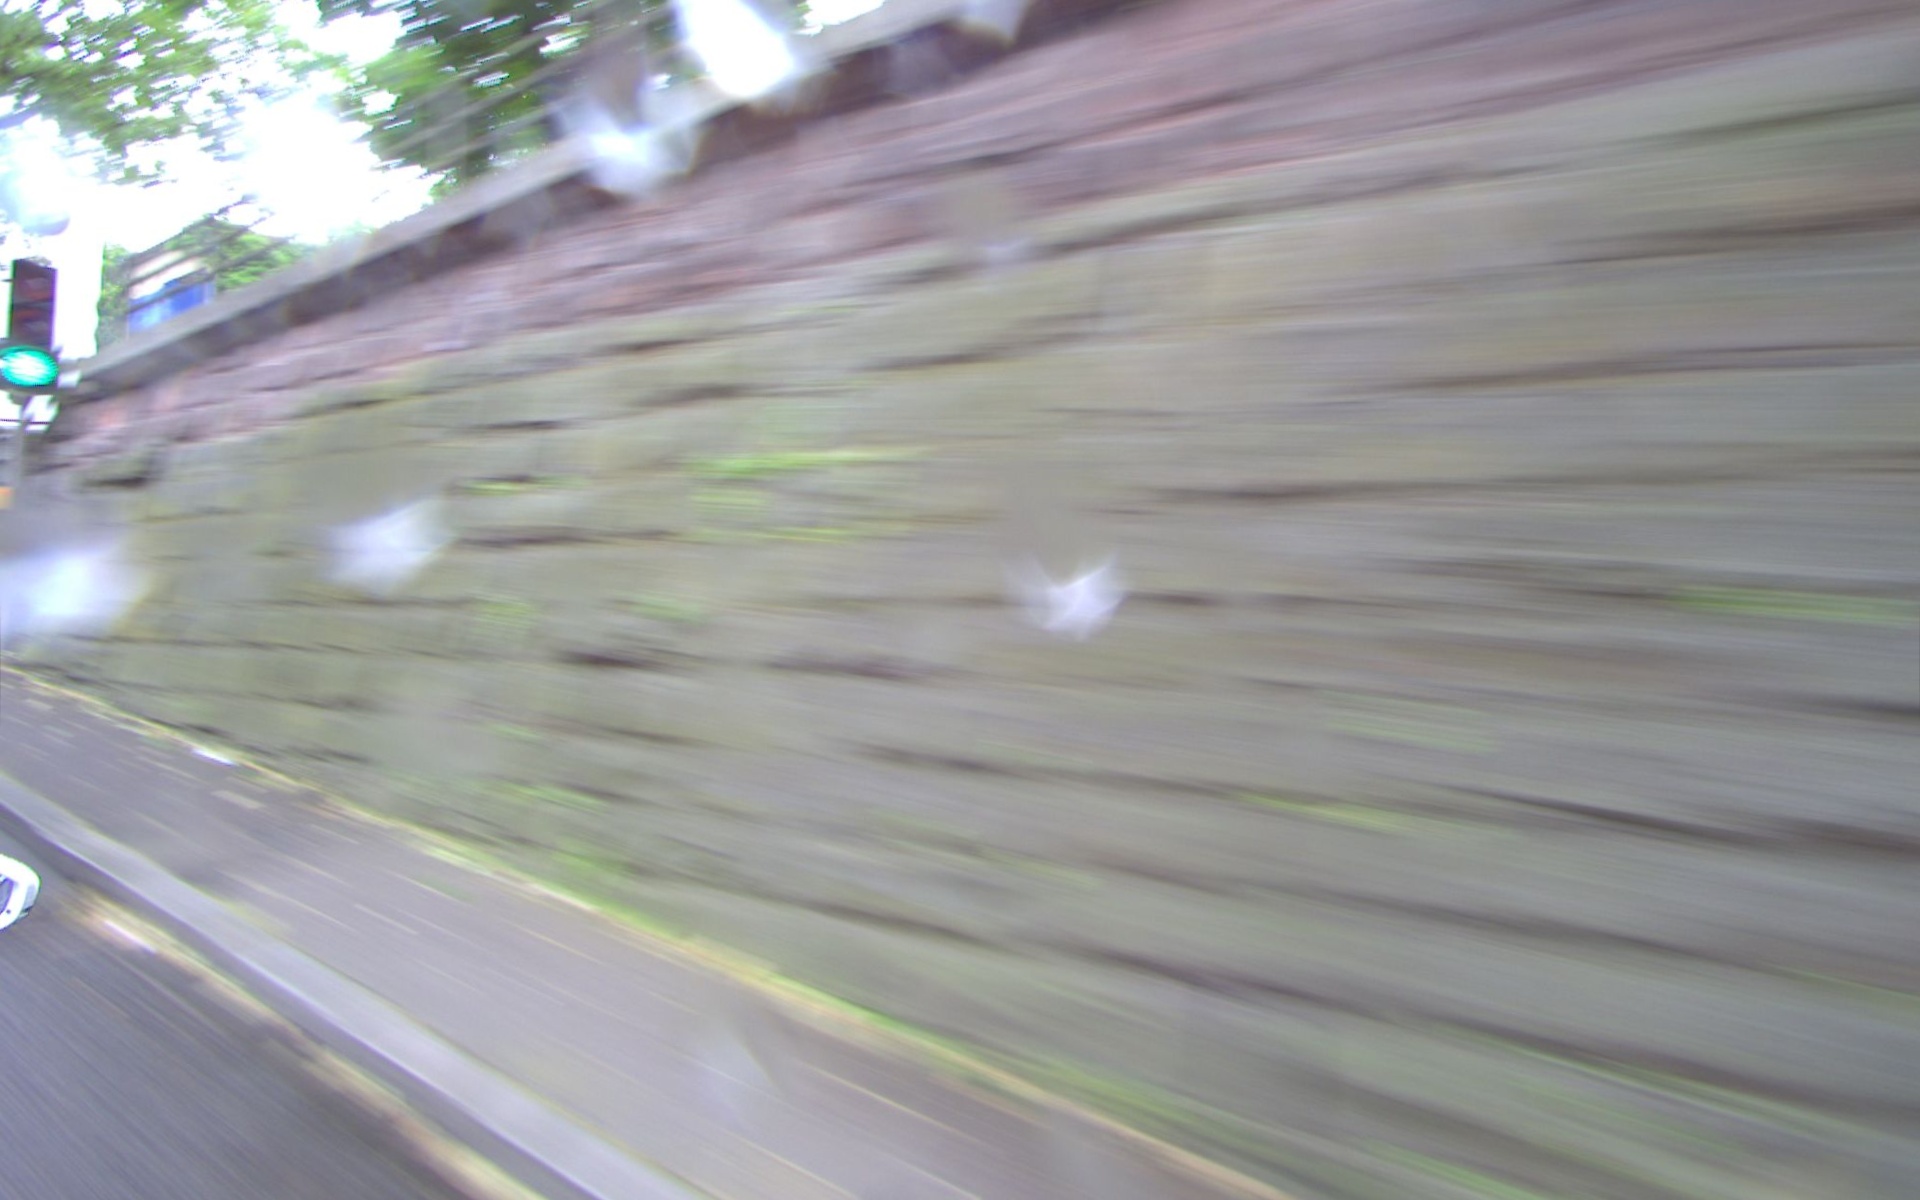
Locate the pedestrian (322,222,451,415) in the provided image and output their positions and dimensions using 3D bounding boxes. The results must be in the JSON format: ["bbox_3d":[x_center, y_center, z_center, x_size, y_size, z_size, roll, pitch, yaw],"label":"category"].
[{"bbox_3d":[-5.939,-2.879,10.461,0.858,1.699,0.778,3,1,-8],"label":"pedestrian"}]
